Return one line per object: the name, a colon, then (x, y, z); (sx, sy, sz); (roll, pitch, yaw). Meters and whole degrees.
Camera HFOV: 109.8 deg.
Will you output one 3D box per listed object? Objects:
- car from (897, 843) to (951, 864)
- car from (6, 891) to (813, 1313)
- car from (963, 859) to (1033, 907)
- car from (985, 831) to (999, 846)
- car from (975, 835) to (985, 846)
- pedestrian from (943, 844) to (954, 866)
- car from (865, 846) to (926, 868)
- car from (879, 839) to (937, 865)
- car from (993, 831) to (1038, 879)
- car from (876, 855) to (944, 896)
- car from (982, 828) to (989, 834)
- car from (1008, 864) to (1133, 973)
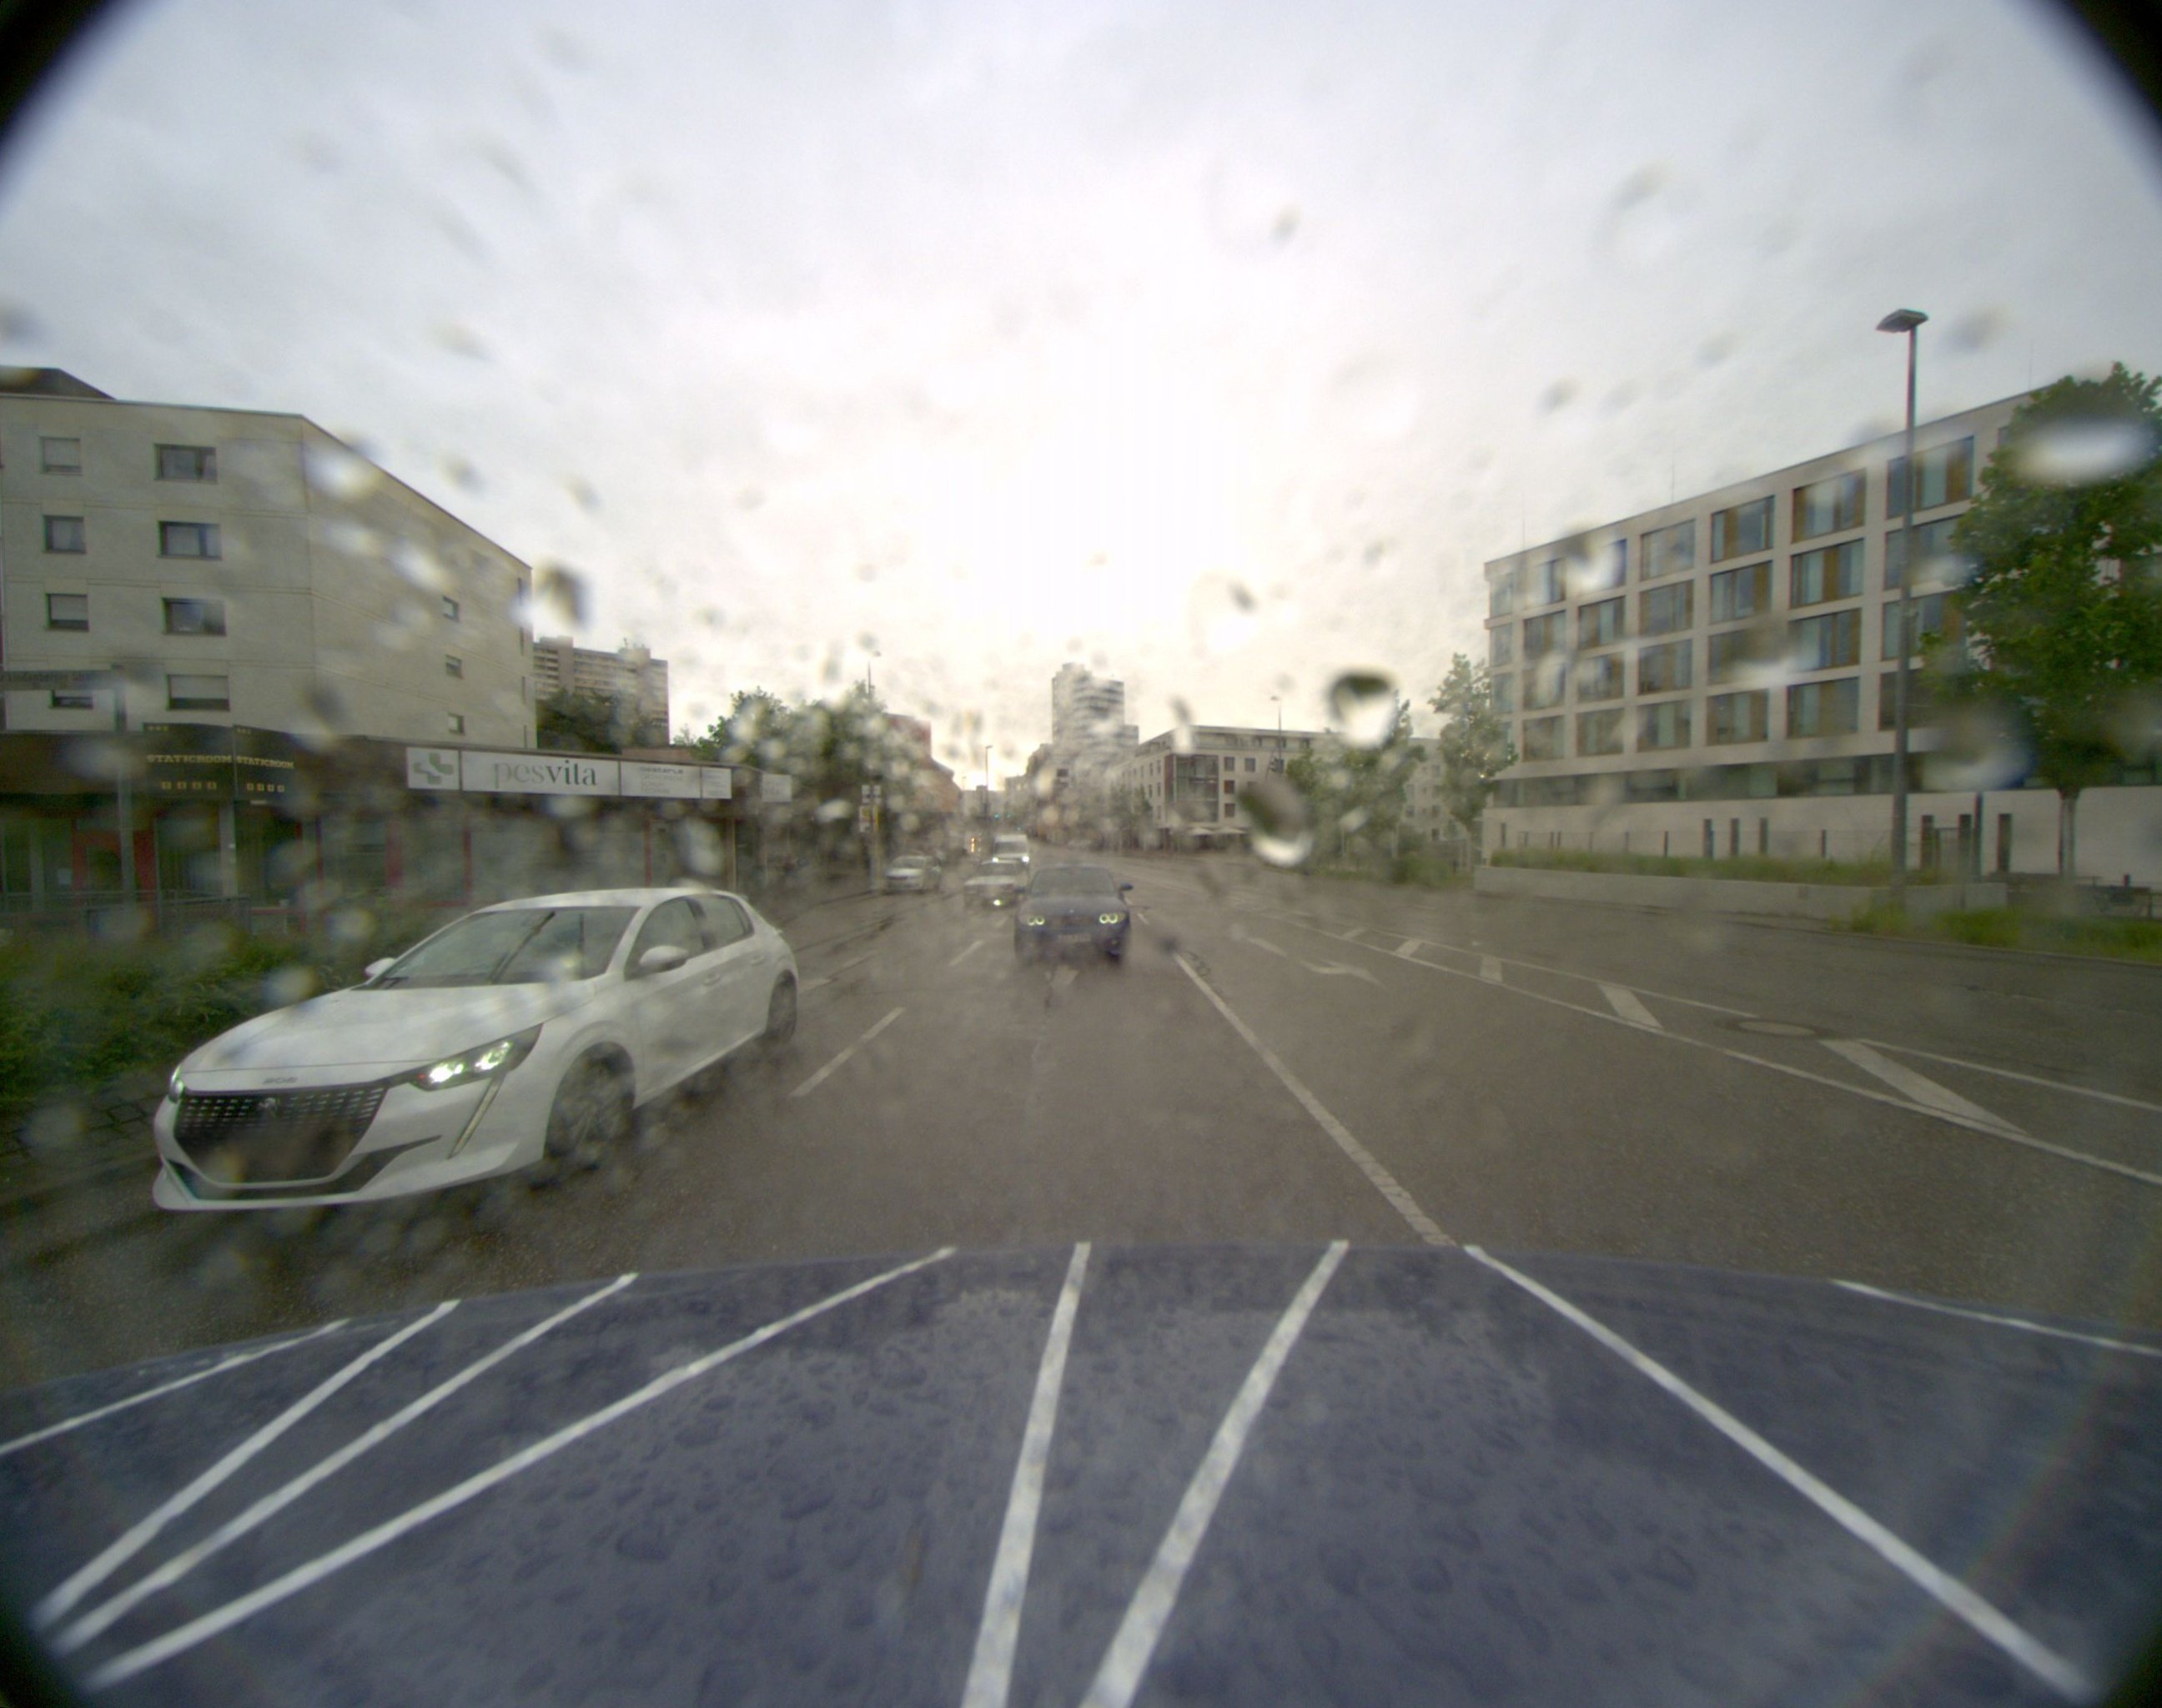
car: (-12.135, -0.030, 58.791); (4.000, 1.584, 1.883); (-1, -1, -10)
car: (-3.395, 1.093, 5.082); (1.666, 1.407, 4.115); (-2, 1, 1)
car: (-2.675, 0.903, 25.351); (1.788, 1.338, 4.162); (-2, 1, 1)
car: (-12.401, -2.217, 106.233); (1.722, 1.988, 3.833); (-2, 1, -9)
car: (-20.777, -2.780, 156.396); (2.000, 2.002, 3.997); (-2, 1, -6)
pedestrian: (-10.567, 0.084, 60.654); (0.750, 1.772, 0.752); (-2, 1, -3)
car: (-12.847, 0.208, 52.885); (4.000, 1.419, 1.882); (-1, 1, -10)
car: (-12.588, -0.165, 55.568); (4.000, 1.769, 1.882); (-1, 1, -10)
car: (-3.697, 0.003, 44.049); (2.197, 2.503, 6.120); (-1, 1, -2)
car: (-6.974, 0.827, 31.415); (1.788, 1.481, 4.000); (-2, 1, 1)
car: (-26.644, -6.367, 212.461); (1.666, 1.625, 3.801); (-2, 1, -11)
car: (-0.196, 0.923, 12.521); (1.693, 1.380, 3.999); (-2, 1, -1)
